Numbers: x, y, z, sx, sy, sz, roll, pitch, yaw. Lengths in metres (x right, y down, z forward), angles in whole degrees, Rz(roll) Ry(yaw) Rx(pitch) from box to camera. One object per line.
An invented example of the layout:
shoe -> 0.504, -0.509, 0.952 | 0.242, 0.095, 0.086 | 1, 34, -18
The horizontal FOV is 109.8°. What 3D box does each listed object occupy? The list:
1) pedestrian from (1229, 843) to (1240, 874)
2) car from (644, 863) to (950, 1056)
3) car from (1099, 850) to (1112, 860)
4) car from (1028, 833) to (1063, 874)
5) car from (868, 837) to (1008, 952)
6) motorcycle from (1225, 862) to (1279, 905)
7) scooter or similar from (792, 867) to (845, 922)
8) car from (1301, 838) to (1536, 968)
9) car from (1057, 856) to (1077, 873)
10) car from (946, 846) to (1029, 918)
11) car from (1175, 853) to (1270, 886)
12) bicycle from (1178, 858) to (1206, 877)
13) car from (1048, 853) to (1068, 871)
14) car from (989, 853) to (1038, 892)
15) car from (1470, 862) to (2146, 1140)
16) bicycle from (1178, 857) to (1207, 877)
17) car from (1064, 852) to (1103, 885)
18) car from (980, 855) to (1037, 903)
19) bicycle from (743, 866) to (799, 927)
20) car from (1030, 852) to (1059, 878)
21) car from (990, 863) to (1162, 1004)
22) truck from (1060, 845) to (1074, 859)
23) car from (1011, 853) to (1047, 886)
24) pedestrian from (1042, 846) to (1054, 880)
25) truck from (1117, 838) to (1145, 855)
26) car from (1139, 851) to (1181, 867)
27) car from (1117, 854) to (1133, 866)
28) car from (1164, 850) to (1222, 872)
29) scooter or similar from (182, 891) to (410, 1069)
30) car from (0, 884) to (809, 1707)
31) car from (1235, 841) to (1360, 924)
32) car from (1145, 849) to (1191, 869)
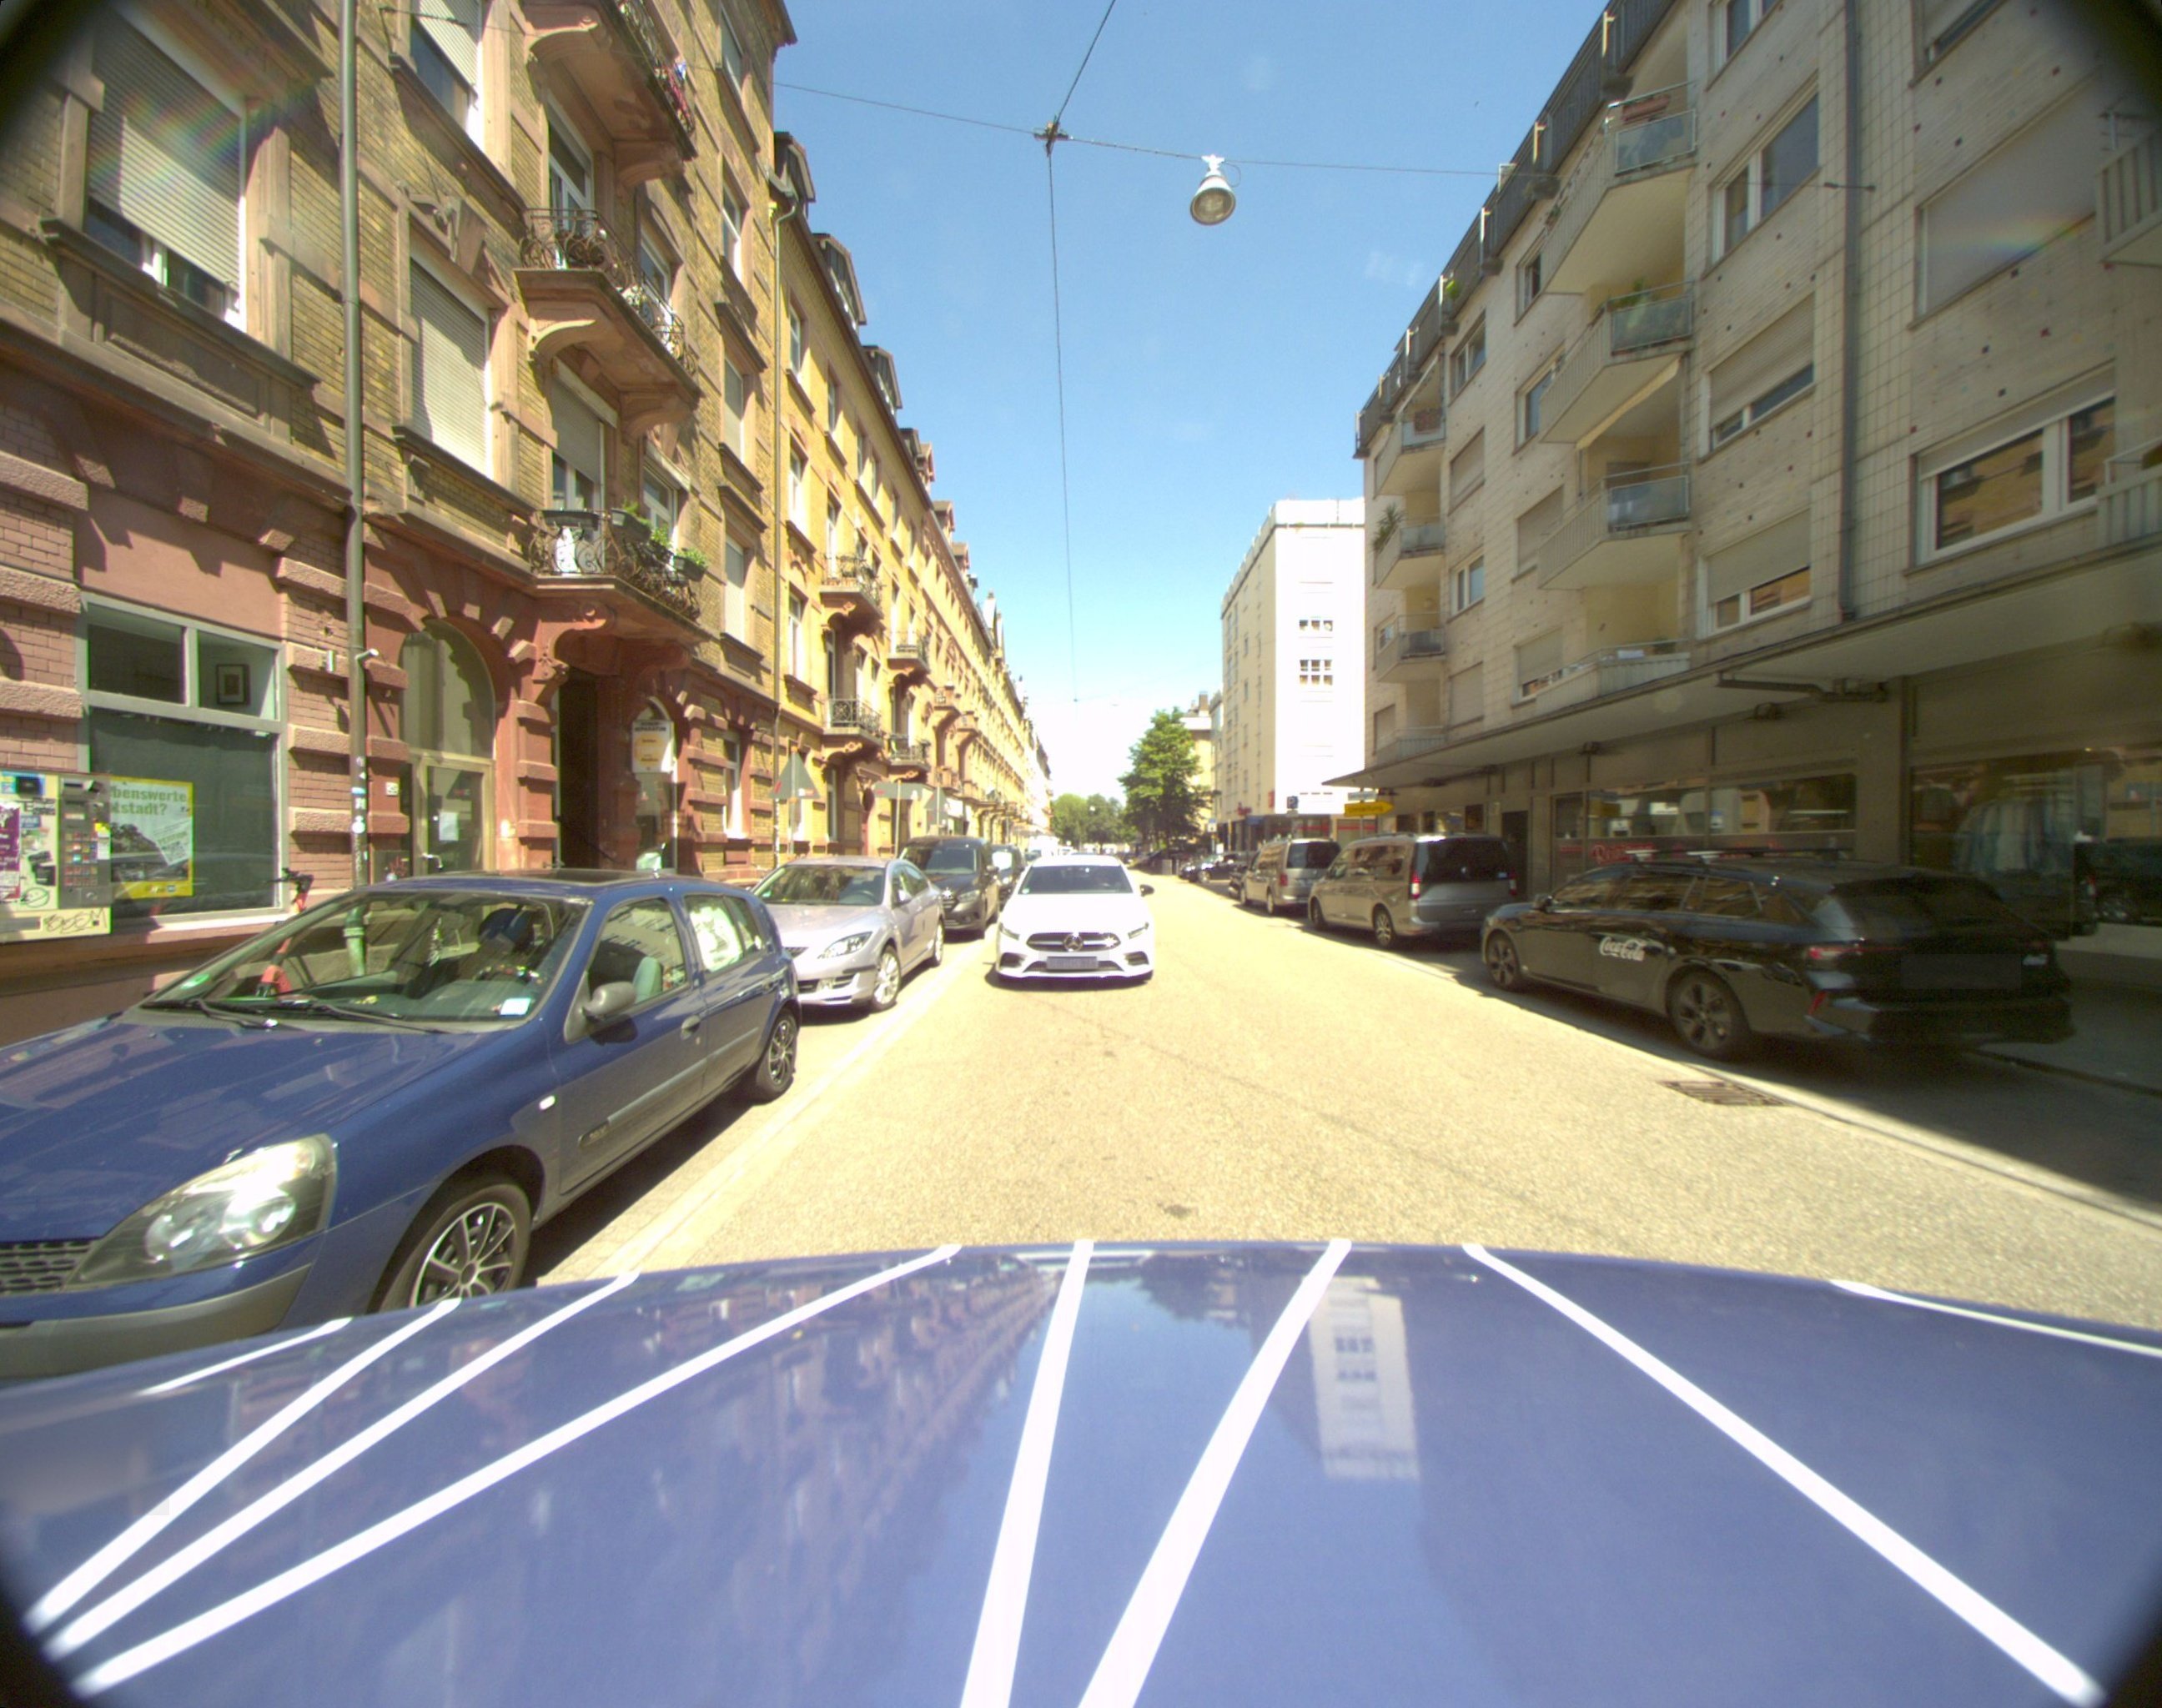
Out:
pedestrian -> 10.558, 0.312, 52.253 | 0.608, 2.113, 0.496 | 0, 1, 36
car -> -2.634, 0.867, 8.269 | 1.730, 1.424, 4.484 | 1, 0, -1
car -> 4.234, 0.199, 131.154 | 1.998, 1.674, 3.999 | -2, 1, 0
car -> -2.414, -0.053, 53.122 | 2.067, 2.687, 5.038 | -2, 1, 0
car -> -2.422, 0.613, 13.937 | 1.829, 1.756, 4.337 | 1, 0, -1
motorcycle -> 5.266, 0.909, 23.411 | 1.552, 1.277, 0.394 | -1, 2, 32
scooter or similar -> -6.029, 0.891, 17.569 | 0.477, 1.146, 2.149 | -1, 0, 0
car -> 5.459, 0.688, 13.091 | 1.793, 1.801, 4.698 | -1, 0, -2
car -> -1.167, 0.813, 61.381 | 1.533, 1.293, 3.685 | -1, 1, -3
car -> -2.419, 0.671, 20.545 | 1.706, 1.723, 3.999 | -1, 1, 0
car -> 6.385, 0.688, 34.529 | 3.891, 1.417, 1.814 | 0, 0, -8
bicycle -> 6.551, 0.809, 44.858 | 1.608, 1.084, 0.371 | -2, 1, 6
car -> -2.075, 0.666, 68.348 | 1.682, 1.528, 3.999 | -1, 1, -3
car -> -2.762, 0.734, 31.901 | 1.830, 1.452, 3.999 | -1, 1, -2
car -> 5.358, 0.880, 6.639 | 1.674, 1.516, 4.464 | -1, 0, 1
bicycle -> 6.415, 0.723, 43.626 | 1.608, 1.084, 0.371 | -2, 1, 6
car -> 0.115, 0.684, 37.209 | 1.780, 1.460, 3.999 | -2, 1, 0
car -> -2.464, 0.790, 25.909 | 1.766, 1.441, 3.903 | -1, 1, -5
bicycle -> -6.010, 0.791, 14.821 | 0.354, 1.097, 1.755 | 0, 0, 0
car -> -2.234, 0.652, 47.093 | 1.682, 1.528, 3.999 | -1, 1, -3
car -> -0.042, 0.867, 10.136 | 1.814, 1.417, 4.241 | 0, 0, 0
truck -> -2.081, -0.285, 116.042 | 1.998, 2.002, 4.902 | 0, 0, 0
car -> -2.477, 0.700, 36.661 | 1.603, 1.454, 3.688 | -1, 1, -3
pedestrian -> -1.895, 0.524, 43.344 | 0.635, 1.903, 0.370 | 0, 1, 0
truck -> 9.811, -1.413, 149.833 | 4.967, 3.270, 2.757 | 0, 1, -42
car -> 7.526, 0.503, 72.784 | 3.885, 1.487, 1.652 | 0, 0, 0
car -> 6.137, 0.769, 105.501 | 1.998, 1.505, 3.999 | -2, 1, 0
car -> 8.005, 0.490, 54.360 | 3.885, 1.520, 1.652 | 0, 0, 0
scooter or similar -> -6.031, 0.909, 5.926 | 0.293, 1.170, 1.272 | 0, 0, 10
car -> -2.641, 0.936, 3.164 | 1.631, 1.424, 3.660 | 1, 0, 1
car -> 5.341, 0.629, 19.434 | 1.793, 1.818, 4.900 | -1, 0, 0
car -> 7.644, 0.396, 67.176 | 3.885, 1.737, 1.652 | 0, 0, 0
